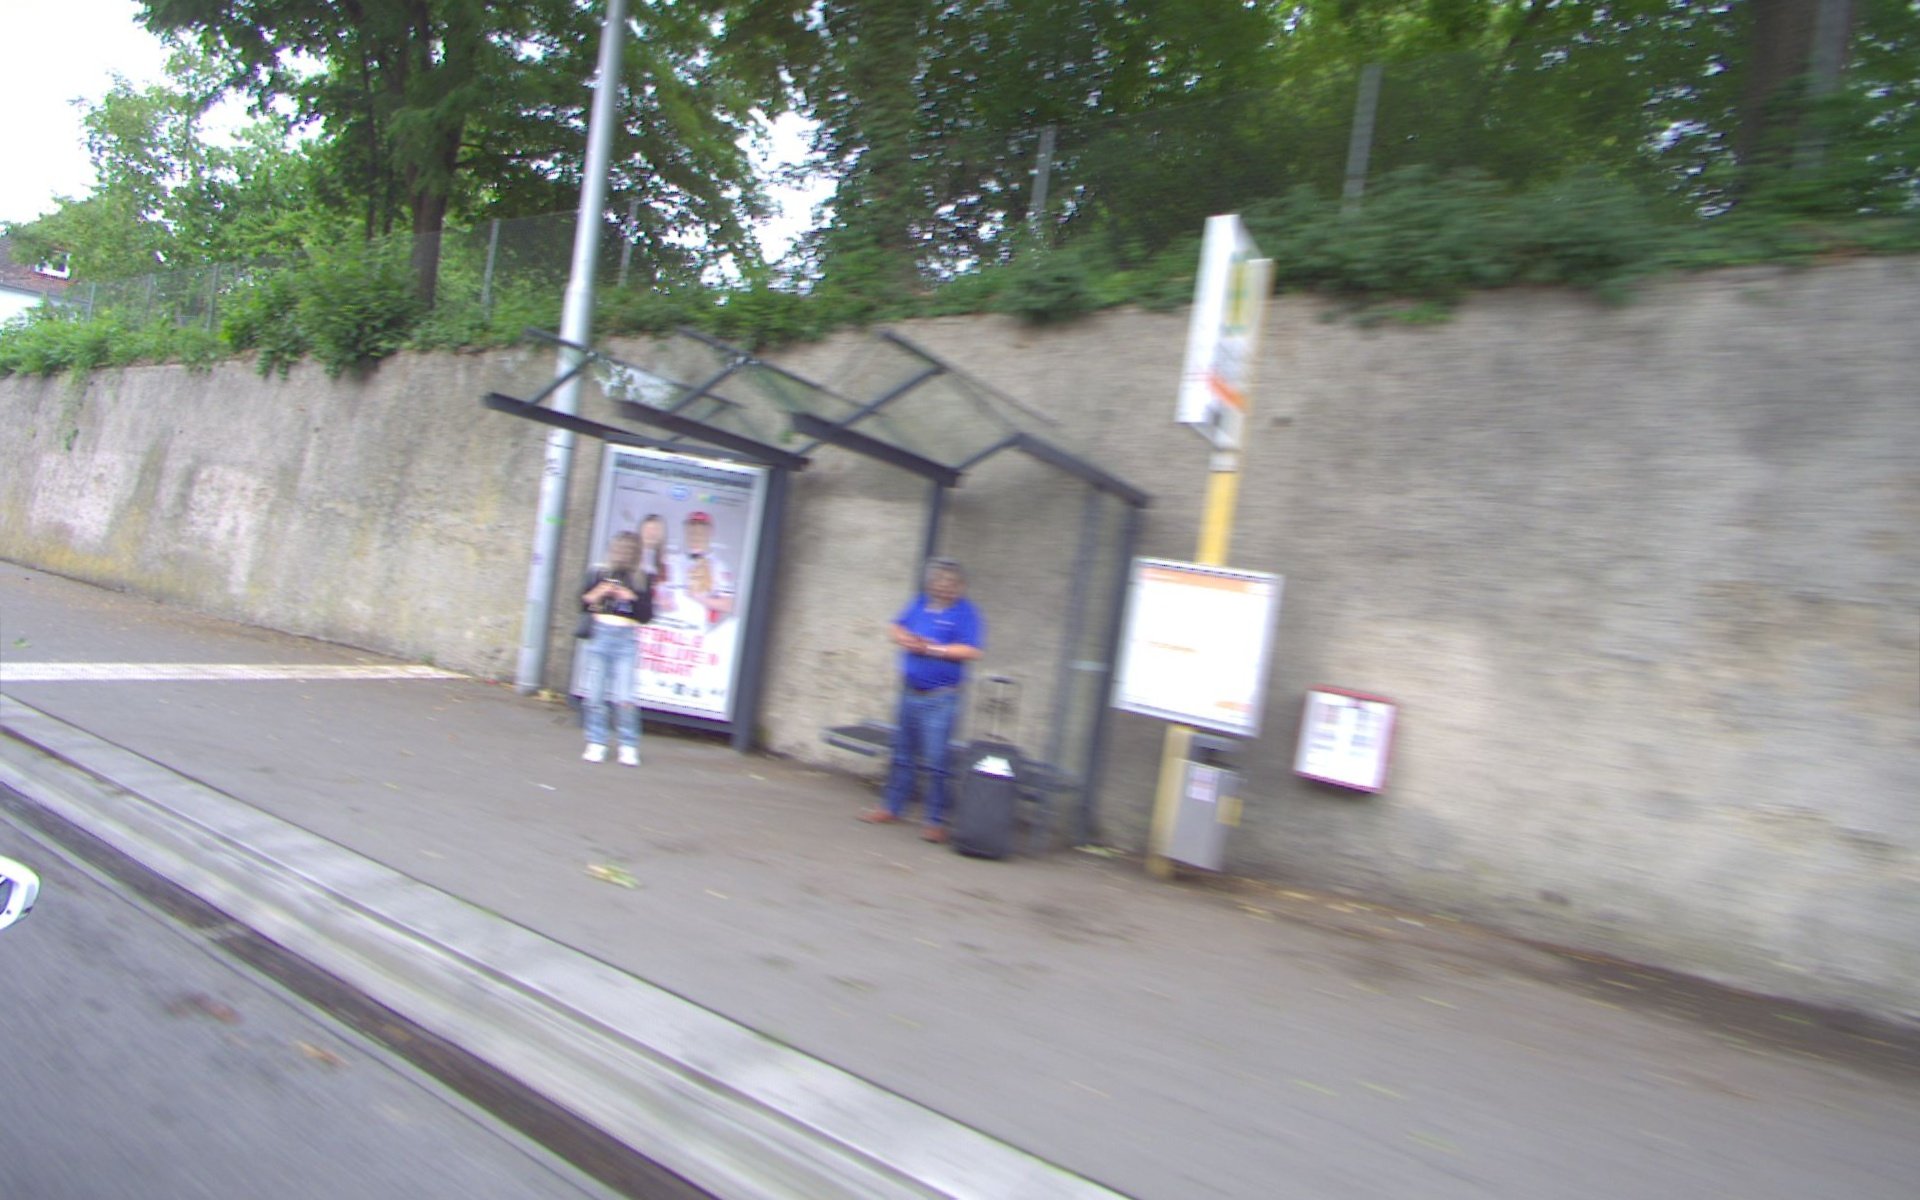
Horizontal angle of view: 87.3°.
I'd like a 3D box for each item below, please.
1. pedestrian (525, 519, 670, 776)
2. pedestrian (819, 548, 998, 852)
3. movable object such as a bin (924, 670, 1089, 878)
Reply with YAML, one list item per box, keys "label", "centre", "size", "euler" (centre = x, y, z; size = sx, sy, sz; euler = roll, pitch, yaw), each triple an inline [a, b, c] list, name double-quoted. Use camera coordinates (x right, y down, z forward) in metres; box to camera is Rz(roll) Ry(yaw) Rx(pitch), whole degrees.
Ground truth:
- label: "pedestrian"
  centre: [-2.462, 0.308, 6.918]
  size: [0.726, 1.608, 0.770]
  euler: [7, 2, -17]
- label: "pedestrian"
  centre: [-0.297, 0.581, 6.084]
  size: [0.620, 1.662, 0.722]
  euler: [7, 0, 27]
- label: "movable object such as a bin"
  centre: [0.283, 0.968, 5.833]
  size: [0.616, 1.032, 0.676]
  euler: [8, 0, 27]
